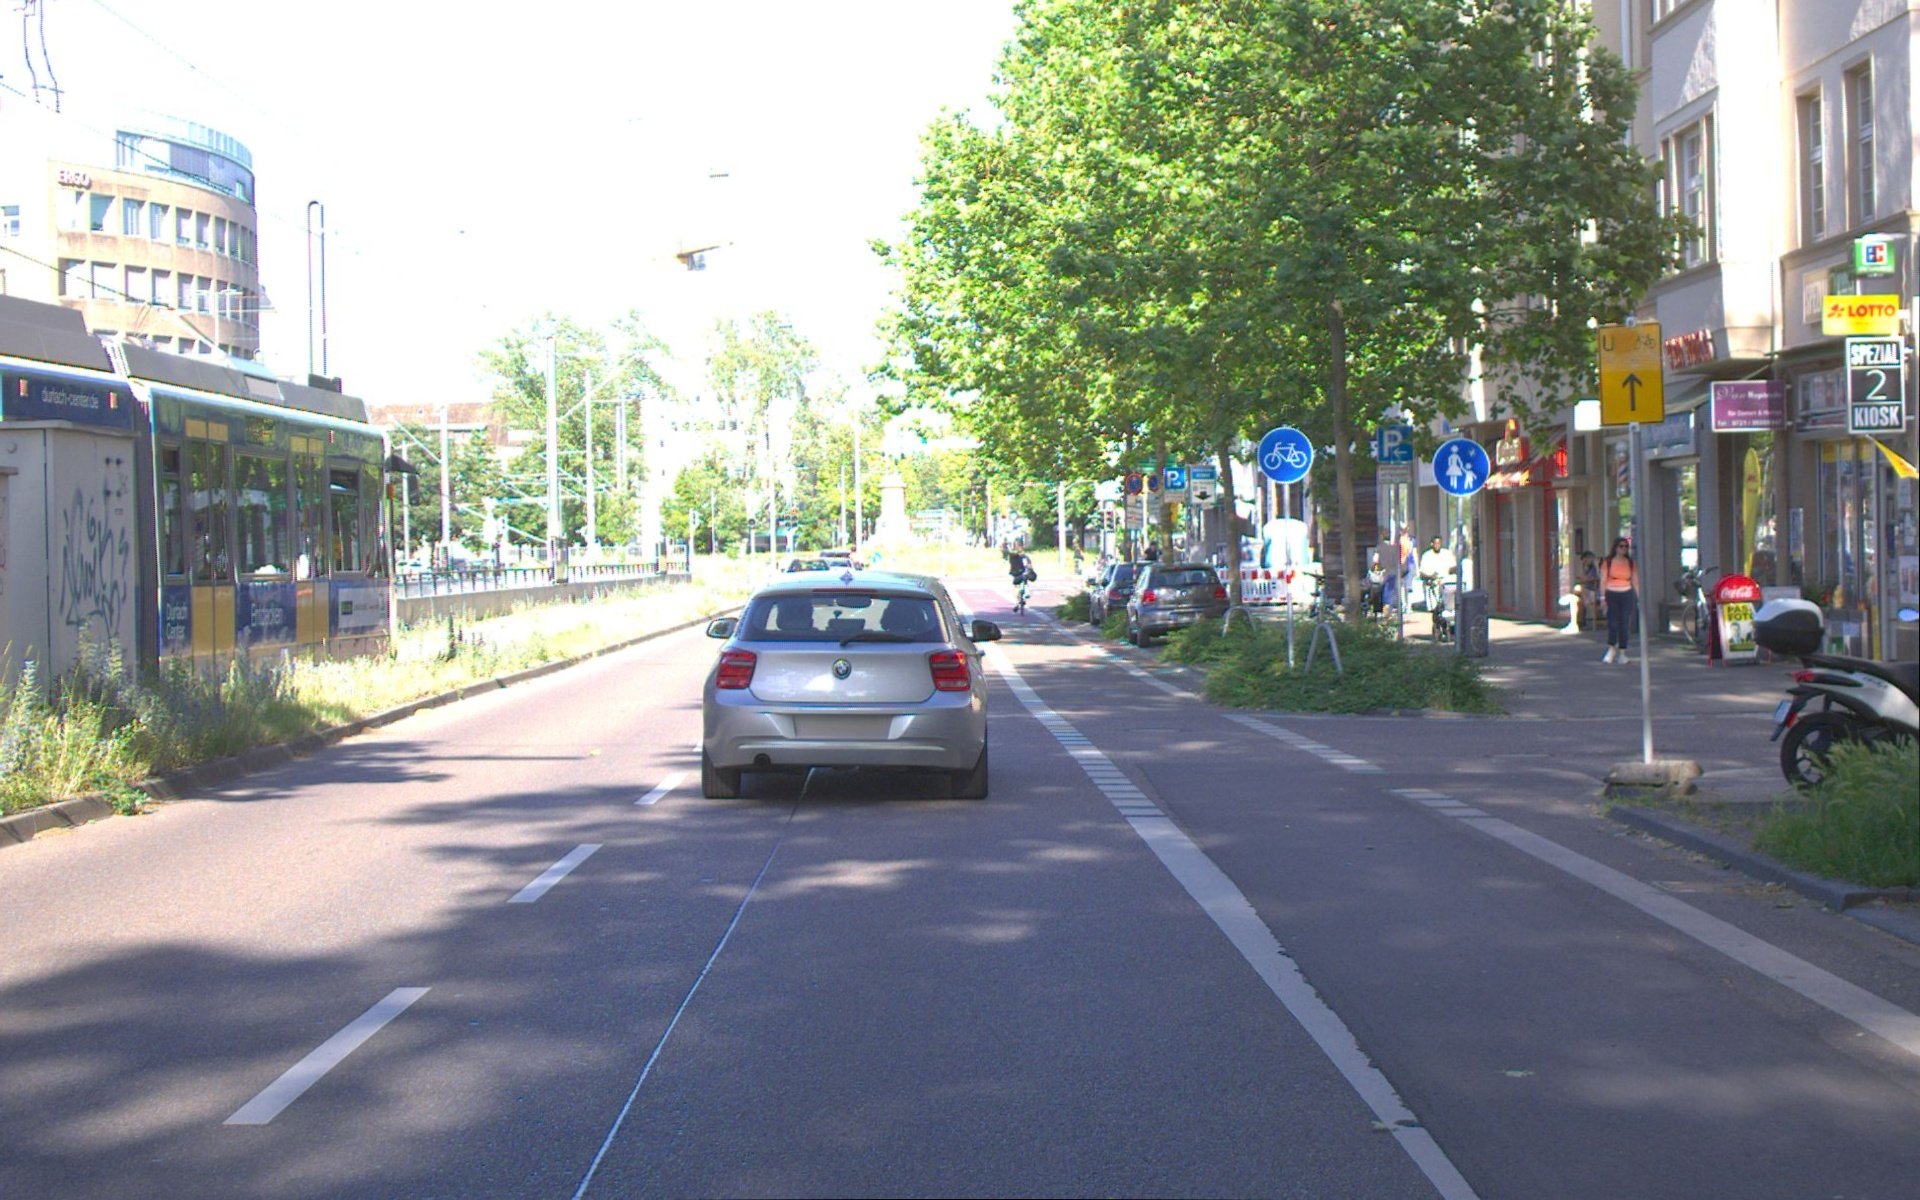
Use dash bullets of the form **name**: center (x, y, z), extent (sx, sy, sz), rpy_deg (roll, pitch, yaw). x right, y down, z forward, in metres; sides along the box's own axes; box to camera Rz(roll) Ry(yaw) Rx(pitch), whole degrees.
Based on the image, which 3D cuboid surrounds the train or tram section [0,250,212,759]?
- **train or tram section**: center (-8.202, -0.762, 28.316), extent (2.955, 3.884, 3.865), rpy_deg (1, 0, 4)

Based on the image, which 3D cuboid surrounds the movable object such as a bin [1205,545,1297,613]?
- **movable object such as a bin**: center (8.298, -0.609, 98.314), extent (1.945, 1.837, 3.481), rpy_deg (-1, 2, -6)

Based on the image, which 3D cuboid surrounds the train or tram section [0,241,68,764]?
- **train or tram section**: center (-9.252, -0.710, 19.297), extent (2.929, 3.799, 14.269), rpy_deg (1, 0, 8)

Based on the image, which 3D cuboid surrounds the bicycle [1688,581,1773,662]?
- **bicycle**: center (10.237, 0.270, 45.759), extent (0.490, 1.020, 2.623), rpy_deg (1, 1, -1)

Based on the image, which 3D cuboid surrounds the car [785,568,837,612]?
- **car**: center (-5.091, -0.344, 117.119), extent (1.726, 1.465, 4.411), rpy_deg (0, 0, -3)

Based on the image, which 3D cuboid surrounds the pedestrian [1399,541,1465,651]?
- **pedestrian**: center (7.441, -0.068, 54.179), extent (0.859, 1.699, 0.917), rpy_deg (-1, 0, -3)

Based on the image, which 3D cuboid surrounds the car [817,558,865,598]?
- **car**: center (-4.311, -0.817, 125.152), extent (1.644, 1.416, 4.000), rpy_deg (1, 0, 0)

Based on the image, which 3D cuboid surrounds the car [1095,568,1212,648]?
- **car**: center (3.846, 0.134, 68.981), extent (2.038, 1.504, 4.594), rpy_deg (-1, 1, -1)

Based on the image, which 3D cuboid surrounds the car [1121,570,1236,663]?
- **car**: center (3.876, 0.275, 61.391), extent (1.694, 1.497, 3.801), rpy_deg (-3, 1, -1)

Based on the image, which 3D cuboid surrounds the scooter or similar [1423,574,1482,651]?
- **scooter or similar**: center (7.606, 0.185, 53.120), extent (0.744, 1.167, 0.849), rpy_deg (-1, 0, -4)

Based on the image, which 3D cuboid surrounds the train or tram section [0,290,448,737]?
- **train or tram section**: center (-7.828, -0.798, 35.566), extent (2.953, 3.883, 10.802), rpy_deg (1, 0, 2)

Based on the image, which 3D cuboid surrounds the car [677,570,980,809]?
- **car**: center (-0.804, 0.515, 22.479), extent (1.798, 1.410, 4.000), rpy_deg (0, 0, -1)

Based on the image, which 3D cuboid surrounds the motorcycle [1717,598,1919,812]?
- **motorcycle**: center (5.527, 0.623, 20.372), extent (1.949, 1.227, 0.516), rpy_deg (1, 0, -3)

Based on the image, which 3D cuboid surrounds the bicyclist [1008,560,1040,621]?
- **bicyclist**: center (1.635, -0.244, 88.017), extent (0.785, 1.526, 0.895), rpy_deg (1, 0, 0)

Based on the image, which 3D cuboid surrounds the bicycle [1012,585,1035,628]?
- **bicycle**: center (1.623, 0.156, 88.064), extent (0.499, 1.085, 1.997), rpy_deg (1, 0, 0)

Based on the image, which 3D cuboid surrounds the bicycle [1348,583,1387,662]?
- **bicycle**: center (6.337, 0.337, 53.402), extent (0.386, 1.203, 1.872), rpy_deg (1, 1, 13)

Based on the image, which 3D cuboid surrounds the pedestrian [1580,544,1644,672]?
- **pedestrian**: center (8.334, 0.101, 43.933), extent (0.682, 1.616, 0.562), rpy_deg (0, 0, -3)

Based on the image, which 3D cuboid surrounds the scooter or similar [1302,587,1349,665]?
- **scooter or similar**: center (5.832, 0.409, 54.821), extent (0.379, 1.192, 1.573), rpy_deg (-1, 0, 19)

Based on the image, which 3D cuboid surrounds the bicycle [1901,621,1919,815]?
- **bicycle**: center (6.525, 0.684, 19.511), extent (2.222, 1.089, 0.455), rpy_deg (1, 0, 1)

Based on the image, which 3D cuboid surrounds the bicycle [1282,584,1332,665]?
- **bicycle**: center (5.335, 0.386, 52.884), extent (0.392, 1.211, 1.903), rpy_deg (-2, -1, -4)

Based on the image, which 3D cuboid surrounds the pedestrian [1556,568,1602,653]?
- **pedestrian**: center (9.827, 0.157, 54.599), extent (0.535, 1.328, 0.820), rpy_deg (-2, 0, 0)

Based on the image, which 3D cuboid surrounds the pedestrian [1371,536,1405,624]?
- **pedestrian**: center (8.361, -0.393, 67.197), extent (0.558, 1.705, 0.770), rpy_deg (-1, 1, -1)

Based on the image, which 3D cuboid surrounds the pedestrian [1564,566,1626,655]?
- **pedestrian**: center (9.921, 0.163, 53.716), extent (0.785, 1.364, 0.857), rpy_deg (-1, 0, 0)
